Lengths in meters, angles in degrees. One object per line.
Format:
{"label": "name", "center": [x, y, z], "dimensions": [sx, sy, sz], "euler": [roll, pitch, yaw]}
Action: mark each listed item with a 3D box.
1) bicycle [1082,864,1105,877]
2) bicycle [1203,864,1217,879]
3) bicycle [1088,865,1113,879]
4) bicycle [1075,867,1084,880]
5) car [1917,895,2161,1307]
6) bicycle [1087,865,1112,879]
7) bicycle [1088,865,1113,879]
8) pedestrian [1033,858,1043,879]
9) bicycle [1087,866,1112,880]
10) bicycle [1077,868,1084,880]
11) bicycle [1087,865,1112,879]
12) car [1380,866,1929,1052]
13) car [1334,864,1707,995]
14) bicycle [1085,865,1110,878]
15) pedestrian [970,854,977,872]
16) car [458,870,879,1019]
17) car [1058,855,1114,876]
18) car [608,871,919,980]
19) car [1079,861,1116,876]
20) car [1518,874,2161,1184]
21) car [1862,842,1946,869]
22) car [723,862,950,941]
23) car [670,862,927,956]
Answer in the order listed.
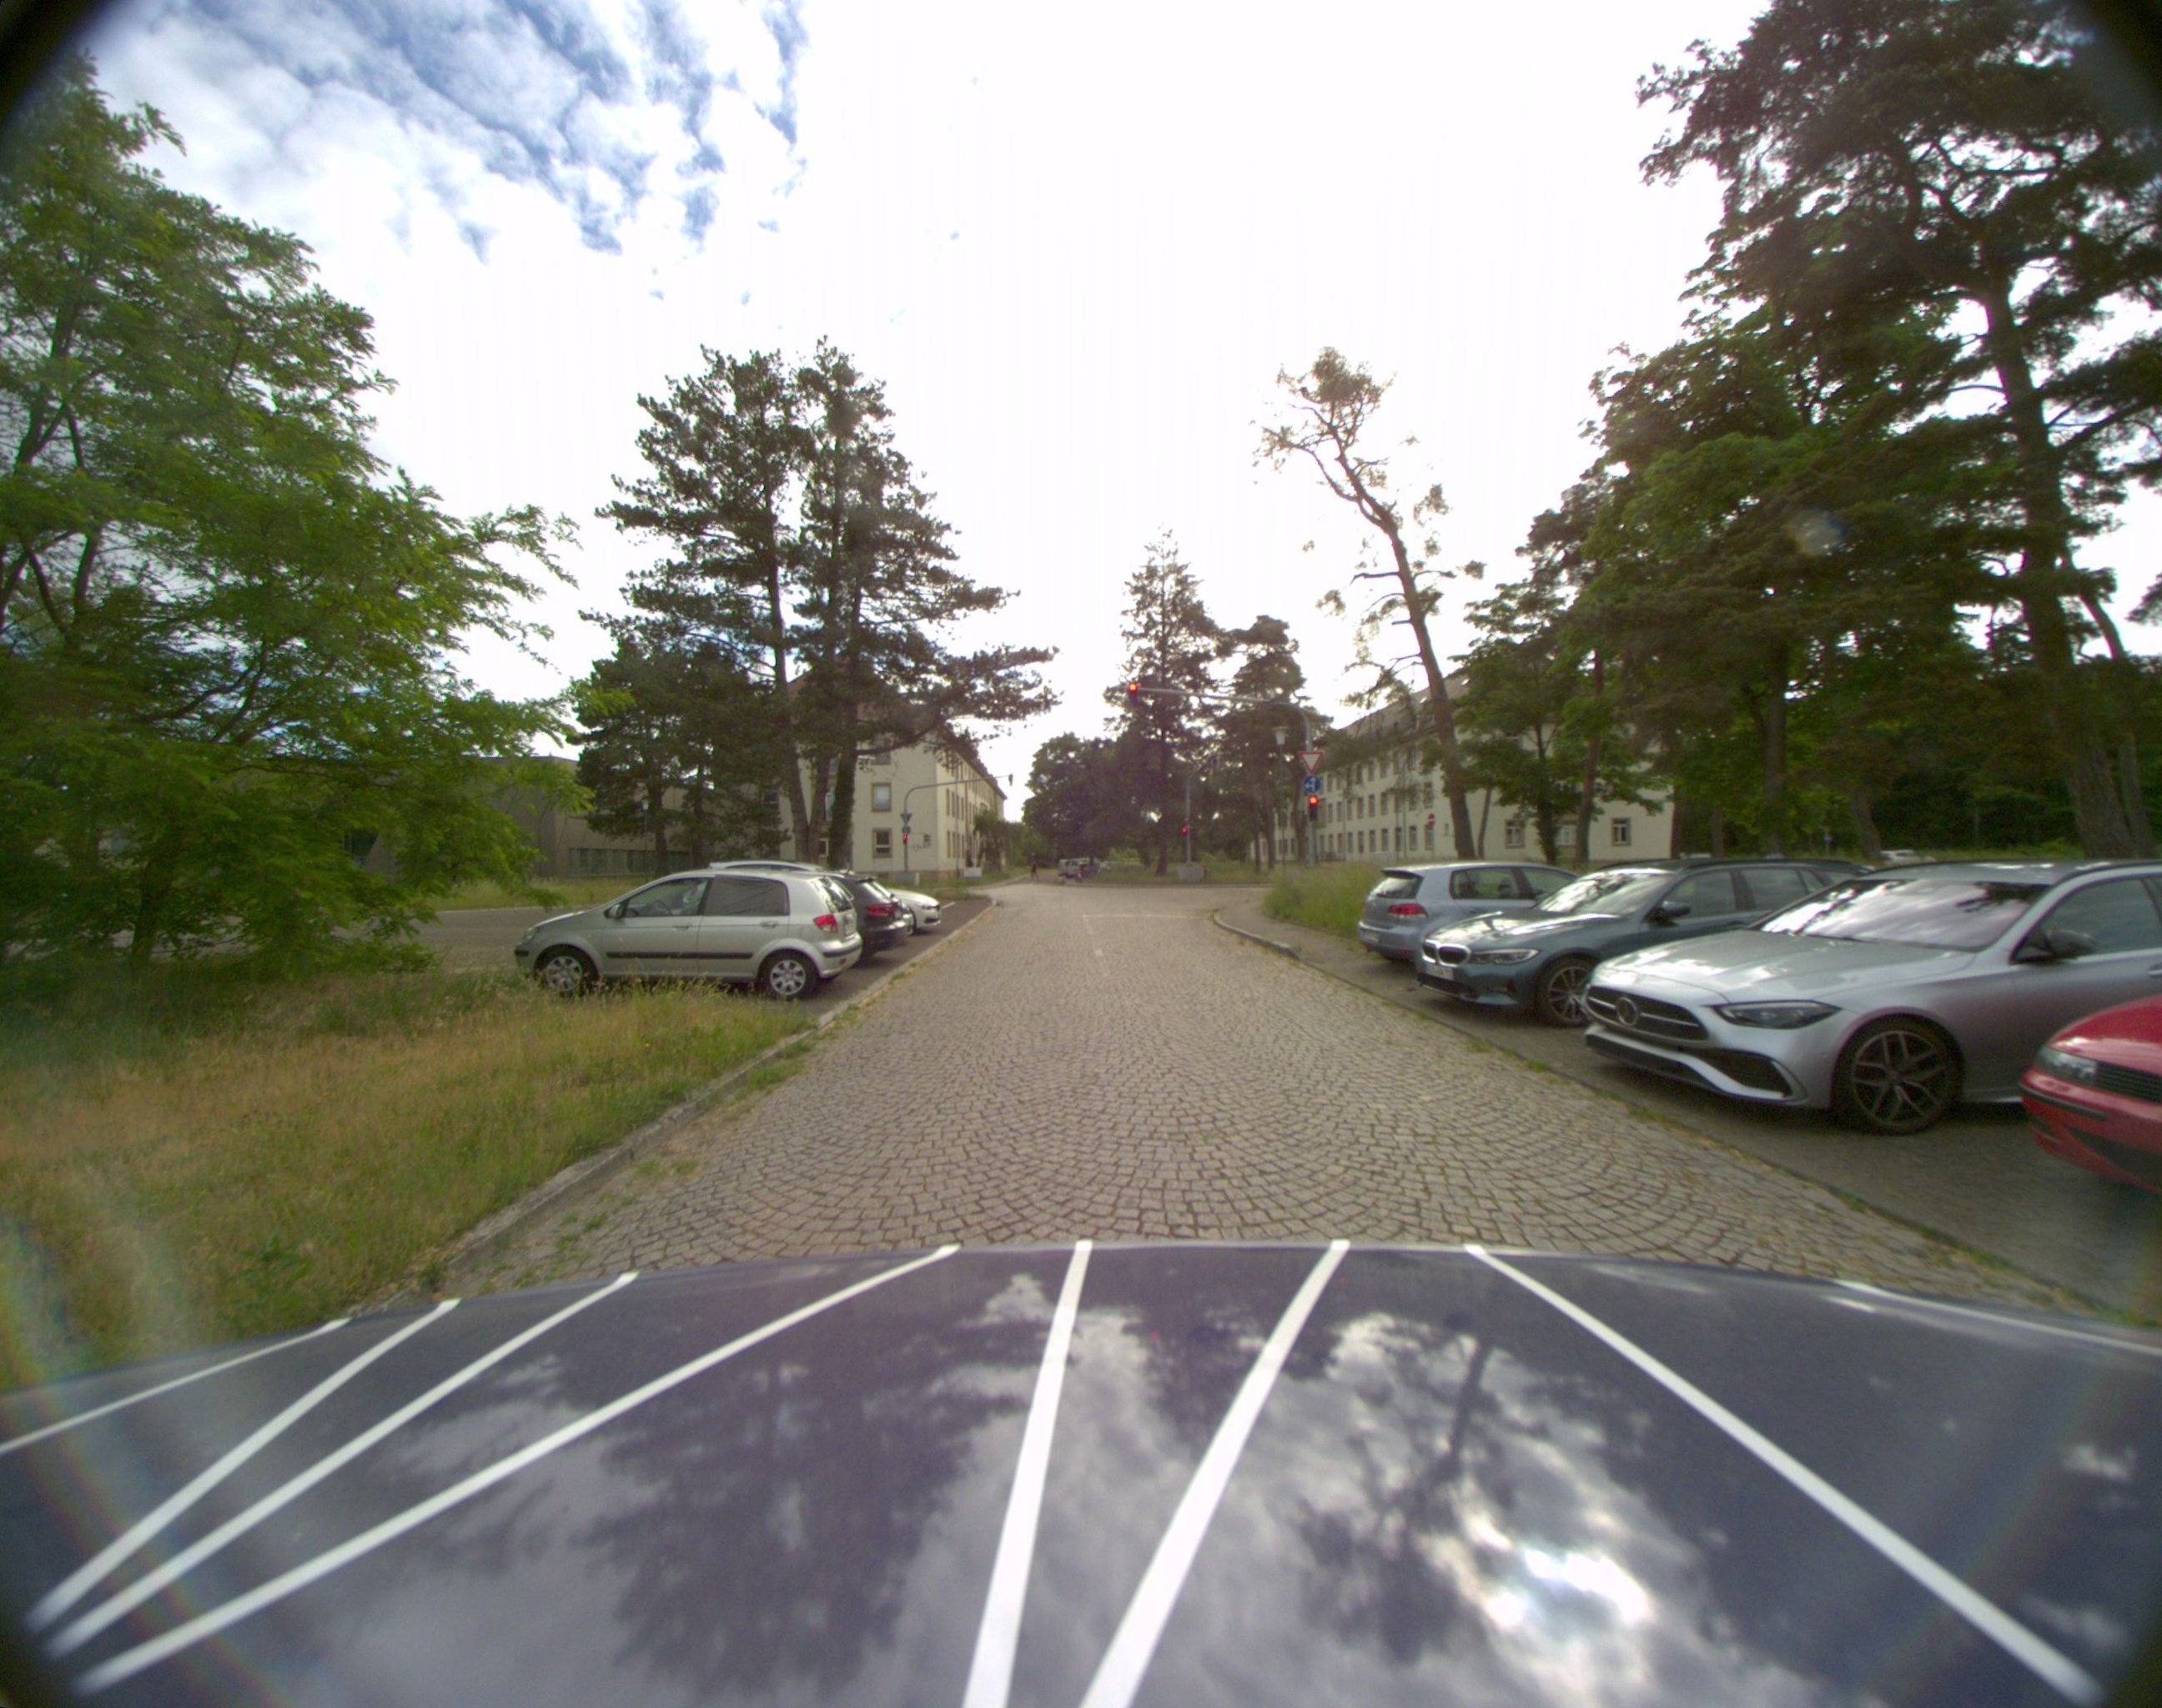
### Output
{"label": "bicycle", "center": [1.054, 1.396, 65.724], "dimensions": [1.951, 1.058, 0.562], "euler": [-1, 0, -3]}
{"label": "bicycle", "center": [7.932, 1.081, 46.685], "dimensions": [0.294, 0.910, 1.052], "euler": [-1, 0, -23]}
{"label": "bicycle", "center": [1.587, 1.430, 60.870], "dimensions": [1.951, 1.058, 0.562], "euler": [-1, 0, -3]}
{"label": "bicycle", "center": [-0.138, 1.463, 57.501], "dimensions": [0.459, 0.968, 1.663], "euler": [-1, 0, 7]}
{"label": "car", "center": [6.084, 0.912, 2.738], "dimensions": [4.177, 1.468, 1.864], "euler": [-1, 0, -2]}
{"label": "bicycle", "center": [1.446, 1.417, 59.690], "dimensions": [1.951, 1.104, 0.562], "euler": [-1, 0, -3]}
{"label": "bicycle", "center": [1.516, 1.436, 60.221], "dimensions": [1.951, 1.058, 0.562], "euler": [-1, 0, -3]}
{"label": "pedestrian", "center": [-3.928, 1.370, 69.905], "dimensions": [0.589, 1.926, 0.792], "euler": [-1, 0, -34]}
{"label": "bicycle", "center": [1.403, 1.446, 59.134], "dimensions": [1.899, 1.058, 0.616], "euler": [-1, 0, -3]}
{"label": "bicycle", "center": [-0.014, 1.459, 55.682], "dimensions": [0.459, 0.903, 1.663], "euler": [-1, 0, 2]}
{"label": "bicycle", "center": [1.490, 1.427, 61.353], "dimensions": [1.951, 1.058, 0.562], "euler": [-1, 0, -3]}
{"label": "car", "center": [5.583, 0.934, 7.770], "dimensions": [4.262, 1.539, 1.935], "euler": [-1, 0, -5]}
{"label": "car", "center": [5.795, 0.941, 10.380], "dimensions": [3.998, 1.534, 1.905], "euler": [-1, 0, -2]}
{"label": "bicycle", "center": [1.360, 1.420, 61.932], "dimensions": [1.951, 1.058, 0.562], "euler": [-1, 0, -3]}
{"label": "pedestrian", "center": [-10.482, 0.887, 74.311], "dimensions": [0.568, 1.691, 0.532], "euler": [-1, 0, 2]}
{"label": "car", "center": [-4.740, 1.026, 9.261], "dimensions": [4.085, 1.506, 1.804], "euler": [2, 0, -3]}
{"label": "car", "center": [0.527, 1.177, 77.549], "dimensions": [5.367, 1.987, 2.289], "euler": [-1, 0, -9]}
{"label": "car", "center": [-4.786, 1.072, 11.970], "dimensions": [4.085, 1.444, 1.885], "euler": [2, 0, -3]}
{"label": "car", "center": [1.582, 1.394, 73.936], "dimensions": [3.440, 1.440, 1.913], "euler": [-1, 0, -3]}
{"label": "car", "center": [5.623, 0.935, 5.026], "dimensions": [4.386, 1.499, 1.935], "euler": [-1, 0, -3]}
{"label": "car", "center": [58.020, 0.136, 53.608], "dimensions": [3.996, 1.796, 1.722], "euler": [-1, 0, 2]}
{"label": "car", "center": [-5.386, 1.028, 17.228], "dimensions": [4.505, 1.556, 1.905], "euler": [2, 0, -4]}
{"label": "car", "center": [-5.273, 1.013, 14.677], "dimensions": [4.252, 1.587, 1.884], "euler": [2, 0, -5]}
